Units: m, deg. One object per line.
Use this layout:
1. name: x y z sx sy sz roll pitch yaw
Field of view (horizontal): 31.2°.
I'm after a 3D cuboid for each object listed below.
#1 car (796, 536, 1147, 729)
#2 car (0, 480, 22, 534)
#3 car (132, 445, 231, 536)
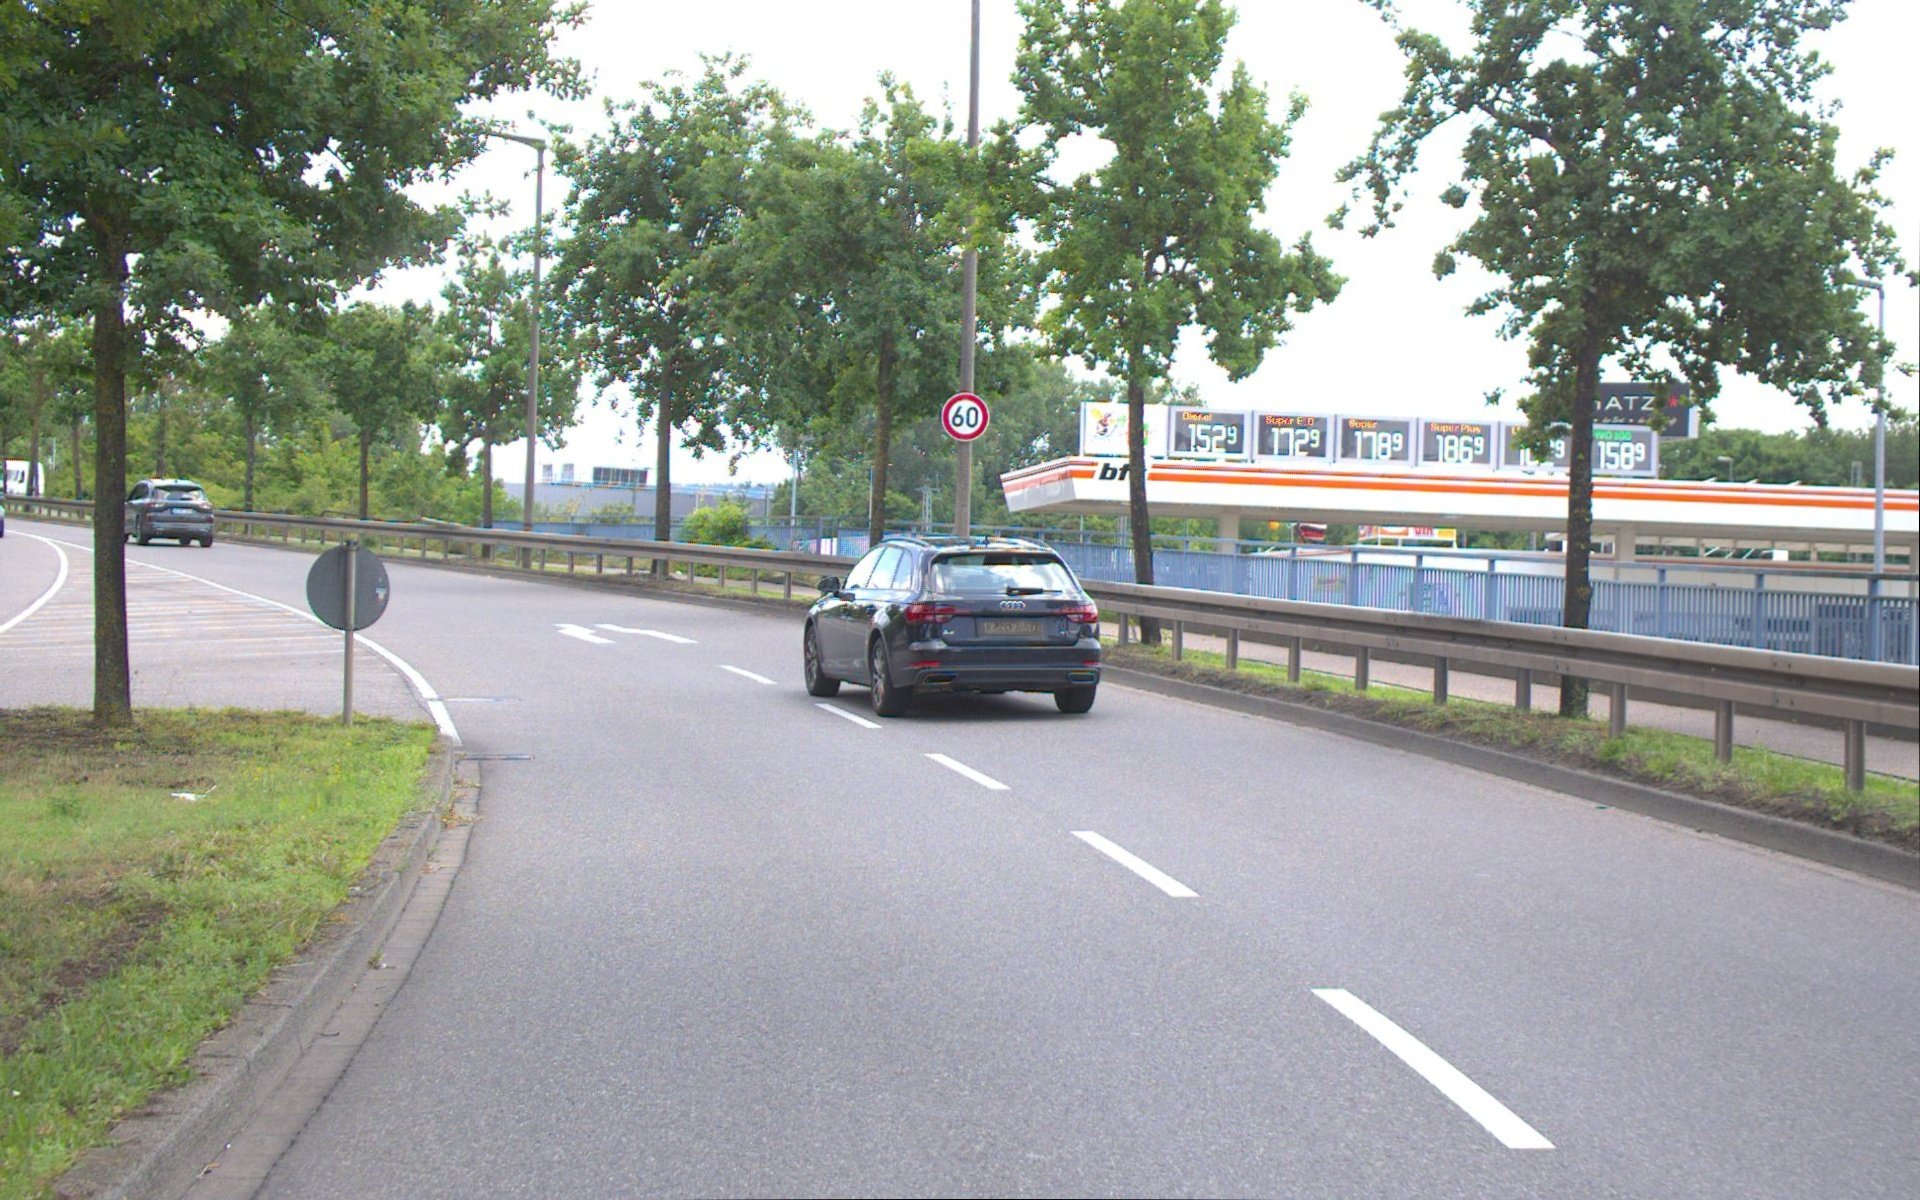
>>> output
1. car: -0.007 0.219 29.046 1.993 1.386 4.577 3 1 -12
2. car: -25.454 -2.388 88.787 1.903 1.359 4.577 0 1 -10
3. car: -19.597 -2.724 86.412 1.993 2.030 4.714 2 -1 -17
